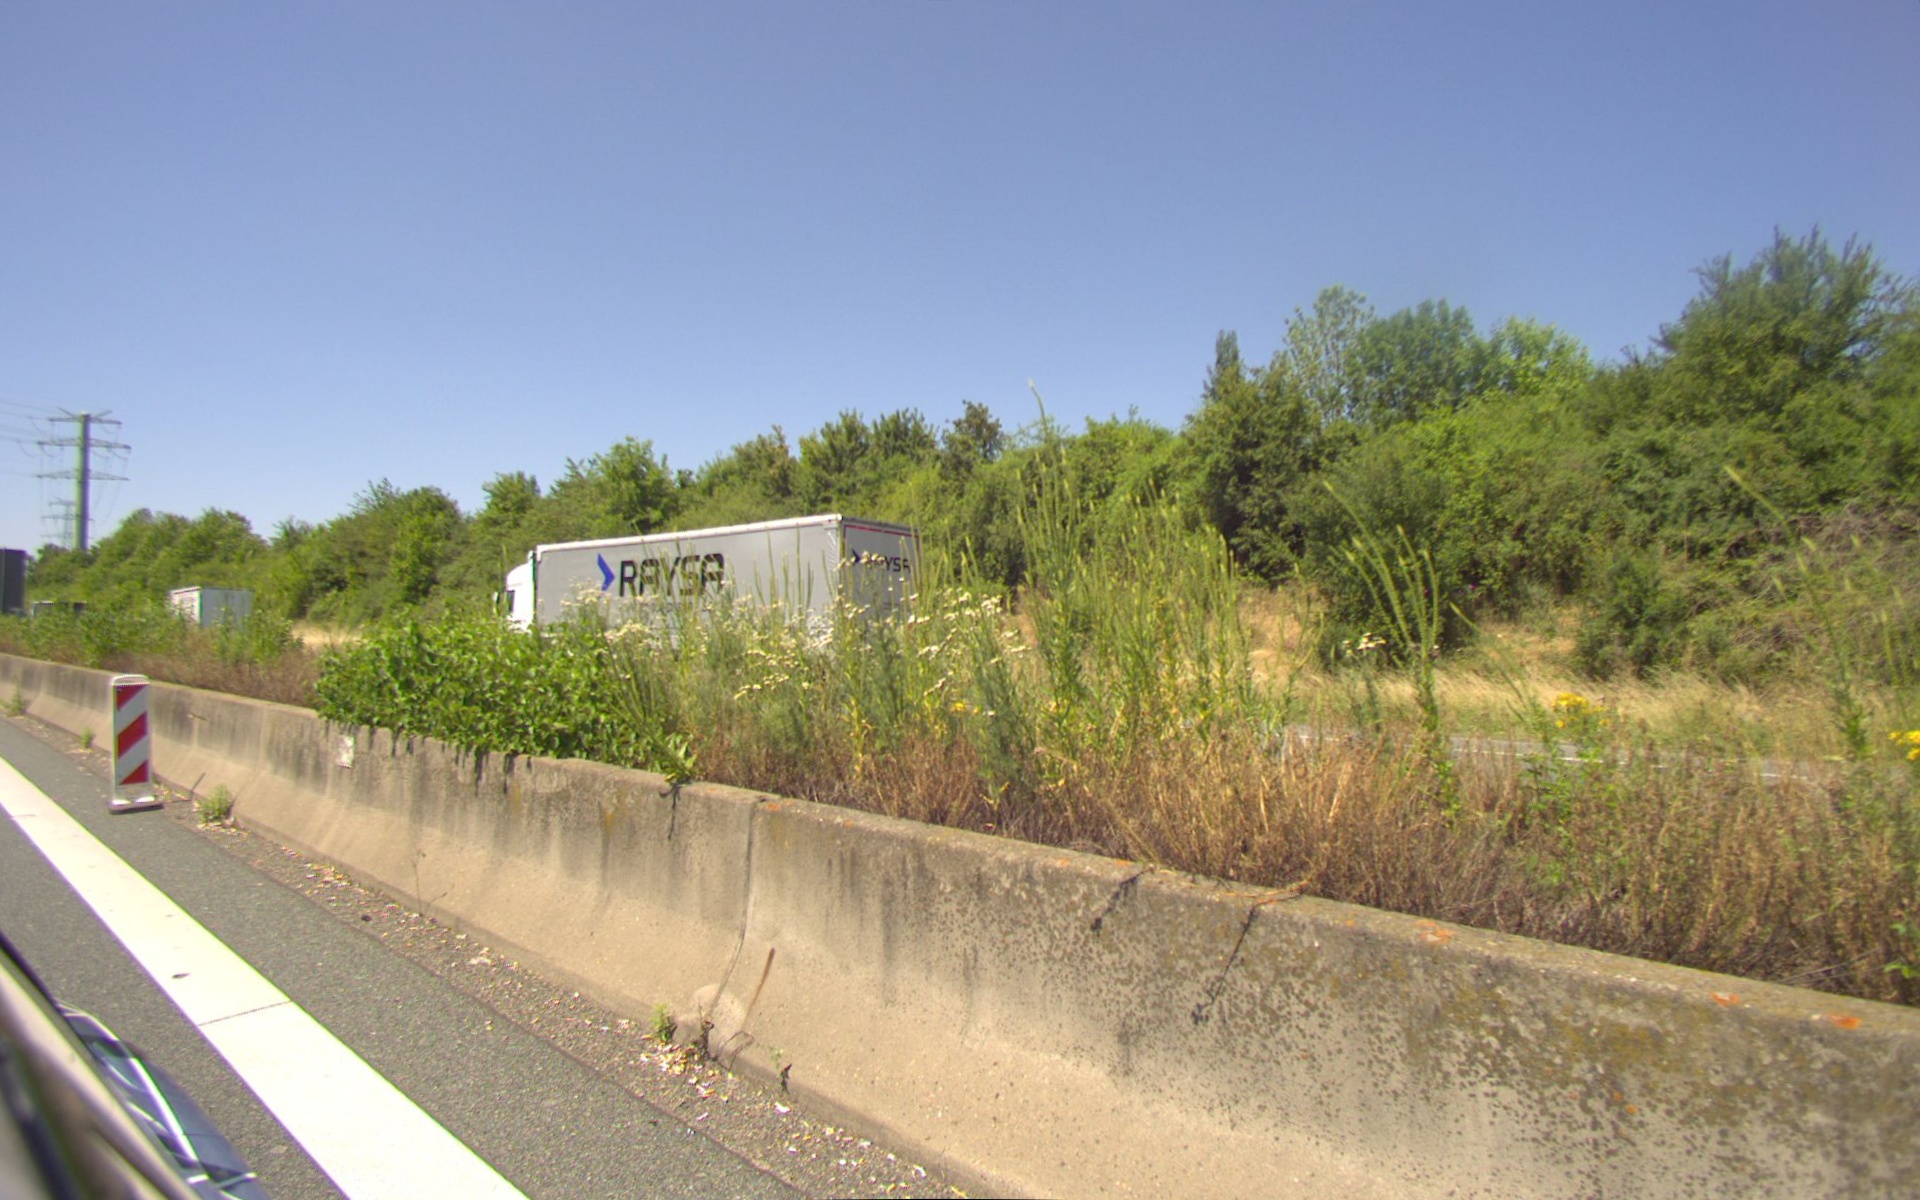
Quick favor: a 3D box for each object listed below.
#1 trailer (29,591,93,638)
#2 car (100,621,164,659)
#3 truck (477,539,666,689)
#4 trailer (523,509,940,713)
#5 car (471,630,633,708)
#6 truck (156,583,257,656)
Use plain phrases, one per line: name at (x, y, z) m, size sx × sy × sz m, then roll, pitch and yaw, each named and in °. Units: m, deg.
trailer at (-87.627, 1.447, 98.522) m, size 14.191 × 4.199 × 2.723 m, roll -1°, pitch -5°, yaw 42°
car at (-45.391, 2.183, 55.465) m, size 4.427 × 1.903 × 1.919 m, roll -1°, pitch -5°, yaw 42°
truck at (-12.171, 0.522, 31.518) m, size 5.804 × 4.199 × 2.984 m, roll -1°, pitch -5°, yaw 42°
trailer at (-6.720, 0.421, 26.595) m, size 14.016 × 4.199 × 2.984 m, roll -1°, pitch -5°, yaw 42°
car at (-9.055, 1.448, 22.320) m, size 3.998 × 1.544 × 1.685 m, roll -1°, pitch -2°, yaw 41°
truck at (-44.506, 1.186, 59.650) m, size 9.026 × 3.918 × 2.733 m, roll -1°, pitch -5°, yaw 41°
